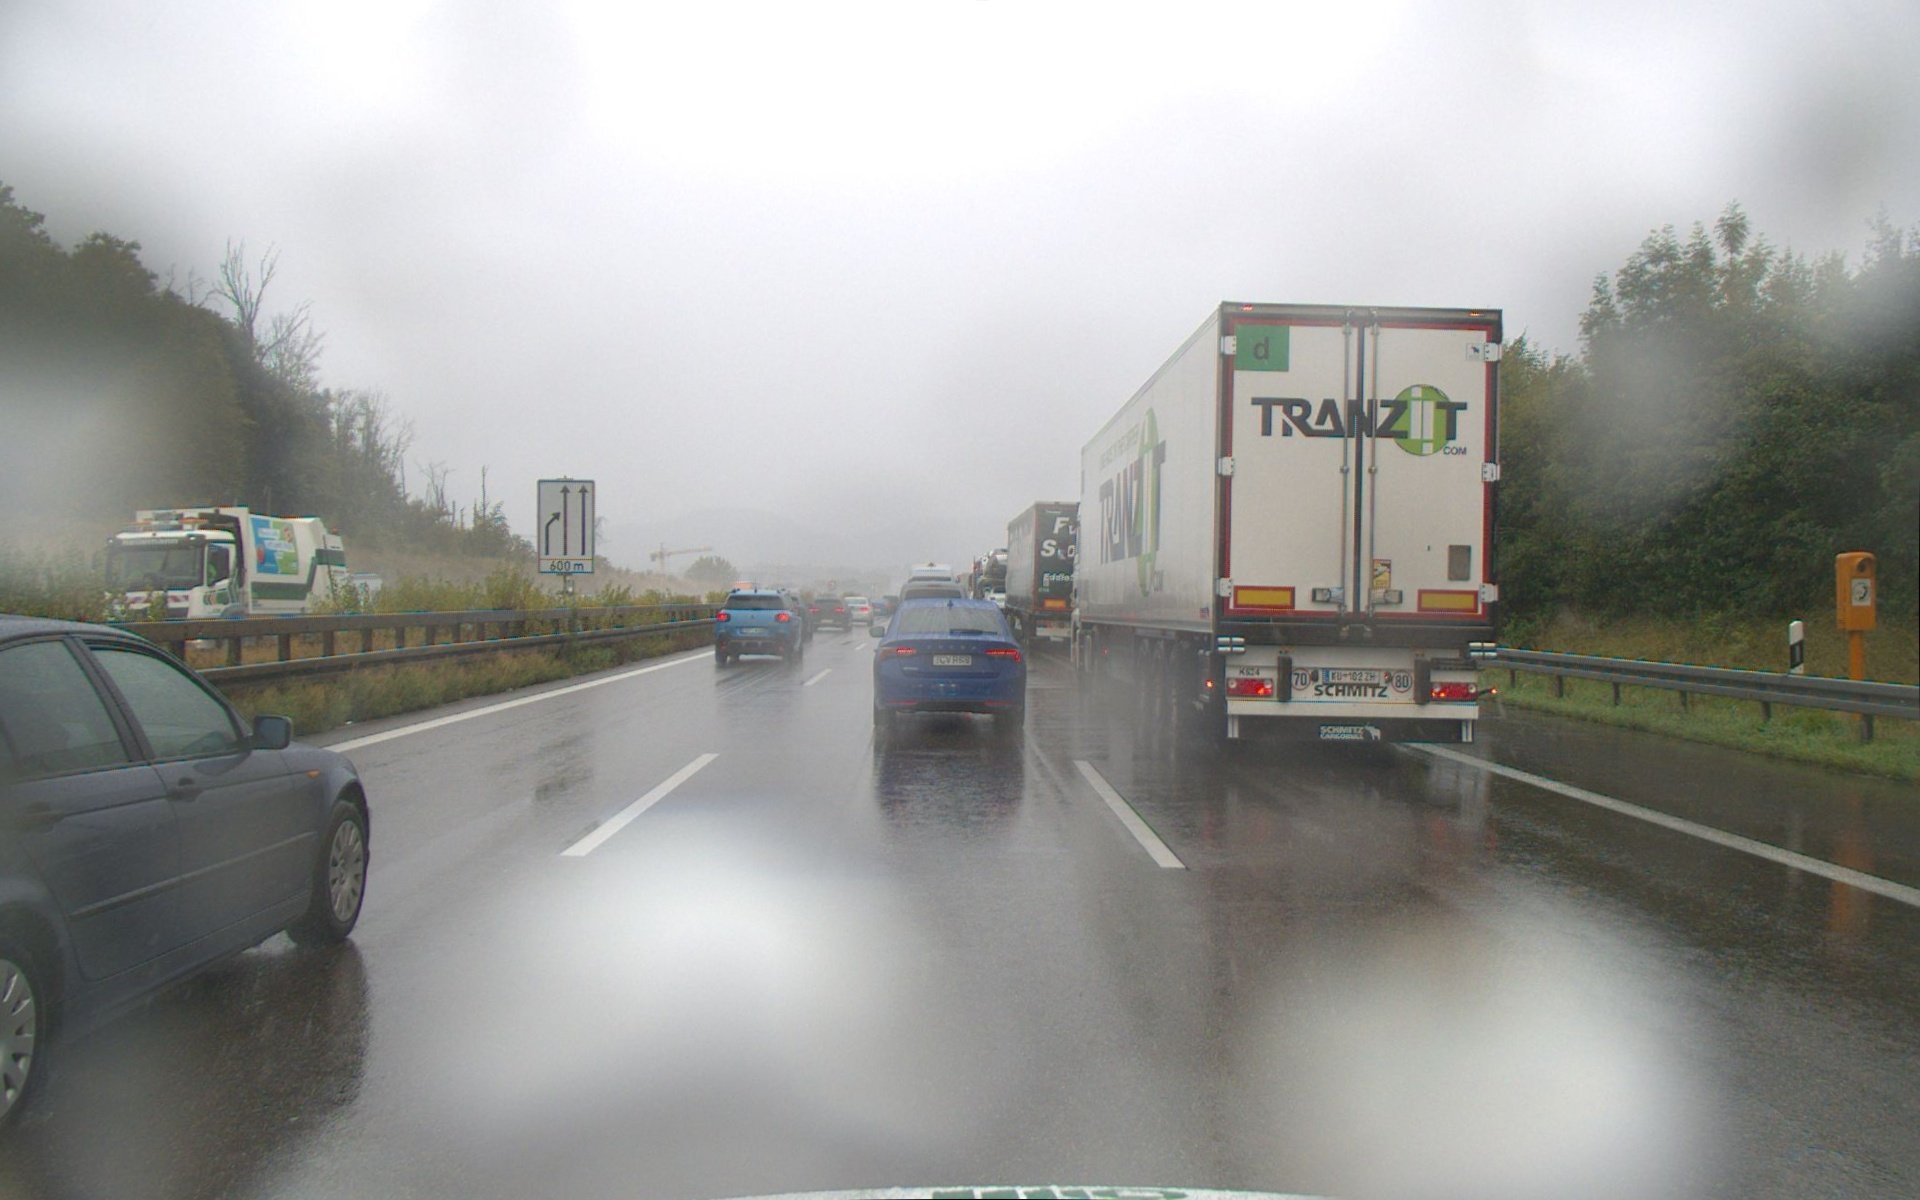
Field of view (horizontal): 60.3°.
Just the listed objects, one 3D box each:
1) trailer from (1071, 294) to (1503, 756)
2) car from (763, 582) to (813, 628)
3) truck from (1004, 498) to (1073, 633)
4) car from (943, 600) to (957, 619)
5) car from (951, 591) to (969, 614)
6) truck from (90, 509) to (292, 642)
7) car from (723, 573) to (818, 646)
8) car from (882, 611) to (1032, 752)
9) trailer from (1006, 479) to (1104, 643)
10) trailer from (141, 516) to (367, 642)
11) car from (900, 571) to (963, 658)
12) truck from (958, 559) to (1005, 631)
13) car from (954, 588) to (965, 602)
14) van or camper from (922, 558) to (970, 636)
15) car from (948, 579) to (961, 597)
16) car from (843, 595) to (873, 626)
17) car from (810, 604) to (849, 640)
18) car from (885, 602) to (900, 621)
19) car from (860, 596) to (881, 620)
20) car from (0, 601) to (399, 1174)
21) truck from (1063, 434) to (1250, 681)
[{"bbox_3d":[3.398,-0.721,21.992,2.577,4.083,14.626,0,0,-1],"label":"trailer"},{"bbox_3d":[-5.548,0.147,53.644,1.331,1.456,3.363,0,0,-1],"label":"car"},{"bbox_3d":[2.536,-1.114,54.497,2.005,4.266,3.999,0,0,-1],"label":"truck"},{"bbox_3d":[-0.885,0.835,147.030,1.223,1.538,3.107,0,1,-1],"label":"car"},{"bbox_3d":[-0.037,0.198,135.541,1.419,1.815,3.408,1,0,-1],"label":"car"},{"bbox_3d":[-17.236,-0.476,37.365,2.431,2.767,4.527,-1,-1,0],"label":"truck"},{"bbox_3d":[-4.203,0.201,37.250,1.686,1.550,4.000,0,0,0],"label":"car"},{"bbox_3d":[-0.043,0.889,19.748,1.602,1.470,4.000,0,0,0],"label":"car"},{"bbox_3d":[2.639,-1.059,48.690,2.005,4.249,11.446,0,0,-1],"label":"trailer"},{"bbox_3d":[-17.237,-0.408,40.971,2.431,2.767,7.322,-1,-1,0],"label":"trailer"},{"bbox_3d":[-0.622,0.286,36.402,1.309,1.811,3.321,0,0,-1],"label":"car"},{"bbox_3d":[1.033,-0.296,84.286,1.953,3.481,8.029,0,1,-2],"label":"truck"},{"bbox_3d":[-0.130,-0.659,225.799,1.419,1.815,3.408,1,0,-1],"label":"car"},{"bbox_3d":[-0.547,-0.137,63.489,1.761,2.855,4.767,0,0,-1],"label":"van or camper"},{"bbox_3d":[-0.599,-1.242,171.158,1.308,1.923,3.039,-1,0,-1],"label":"car"},{"bbox_3d":[-5.256,0.545,85.791,1.410,1.560,3.321,0,0,-1],"label":"car"},{"bbox_3d":[-5.500,0.921,70.005,1.410,1.445,3.321,0,0,-1],"label":"car"},{"bbox_3d":[-6.698,1.125,165.194,1.419,1.815,3.408,1,0,-1],"label":"car"},{"bbox_3d":[-6.736,0.583,125.154,1.419,1.815,3.408,1,0,-1],"label":"car"},{"bbox_3d":[-3.313,0.729,5.381,1.683,1.424,4.228,0,0,-3],"label":"car"},{"bbox_3d":[3.270,-0.694,28.629,2.577,3.894,4.790,0,0,-1],"label":"truck"}]
